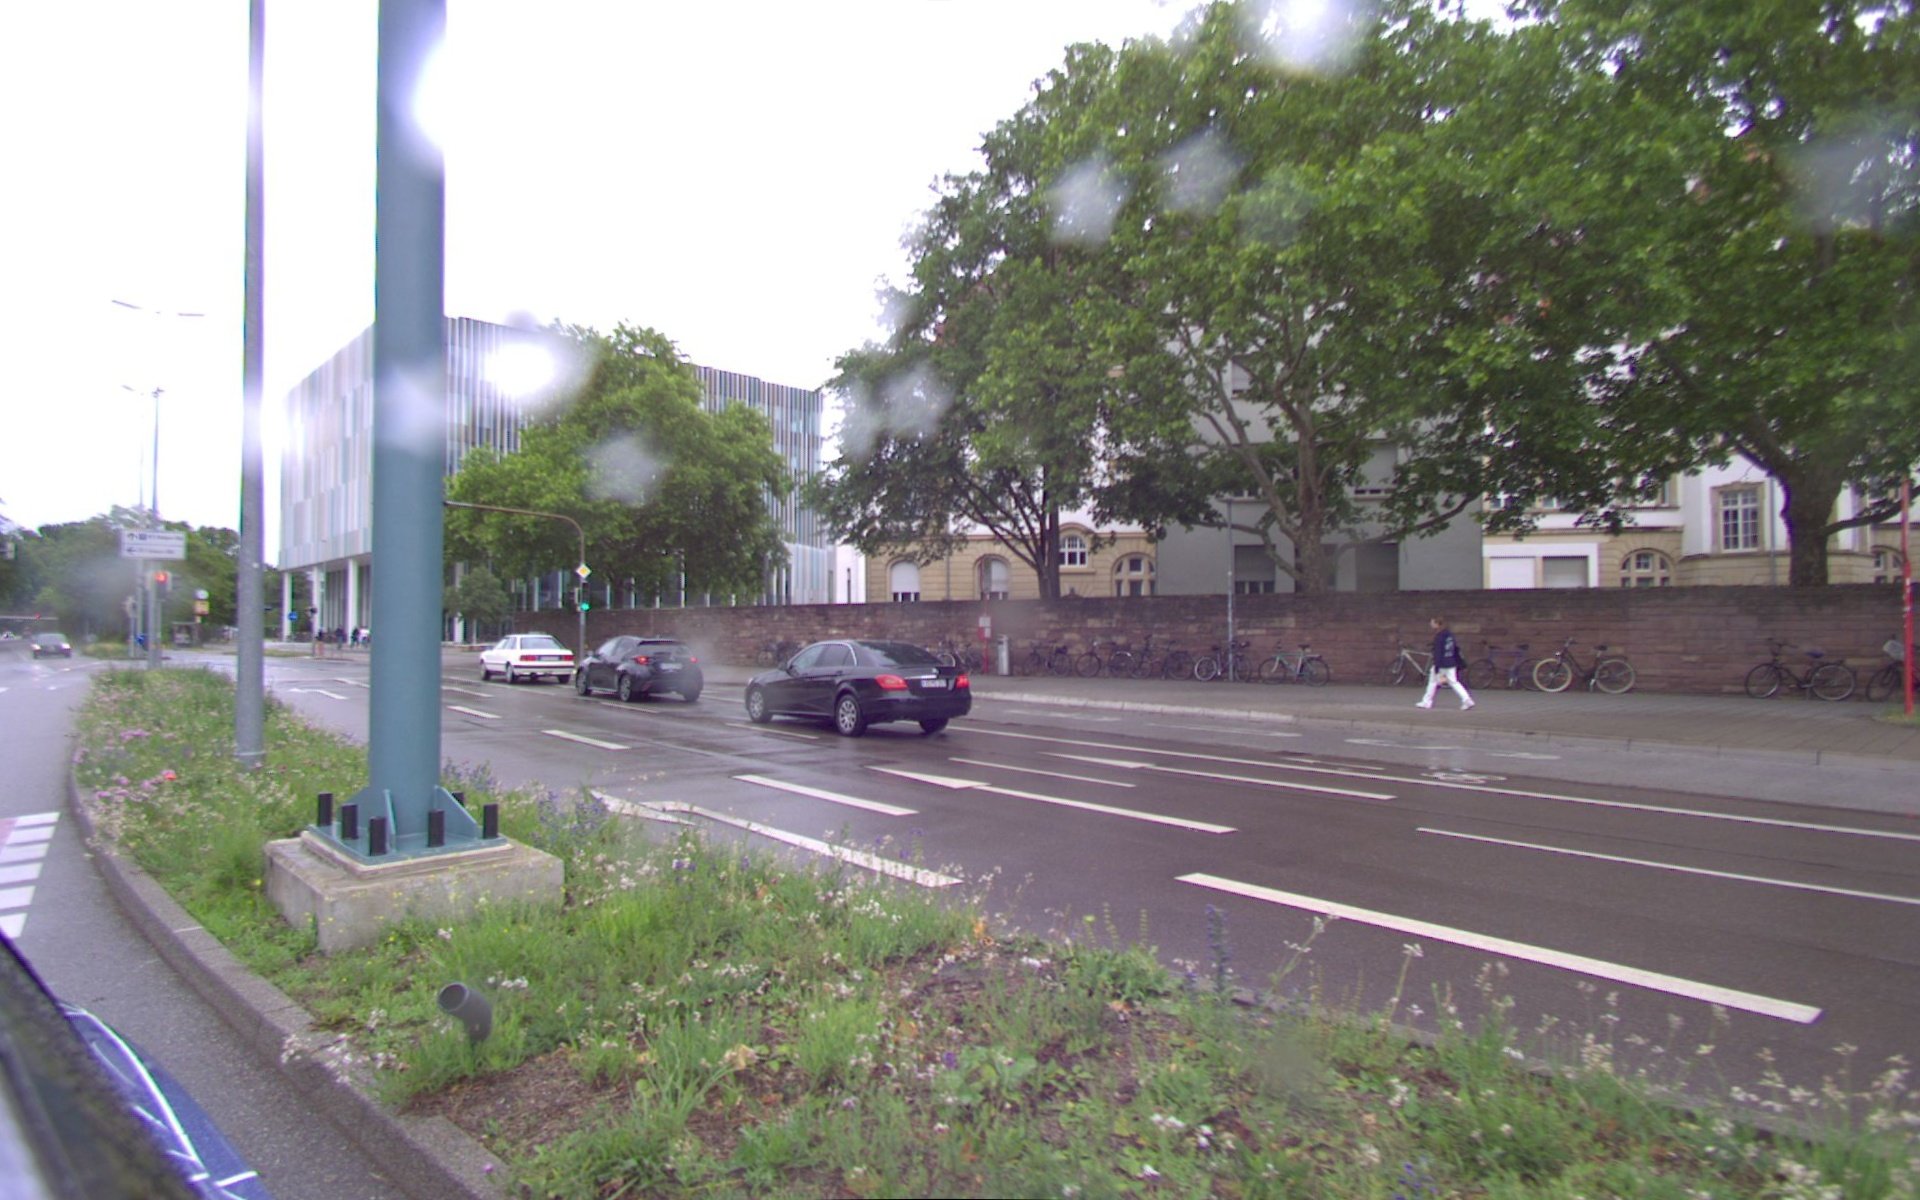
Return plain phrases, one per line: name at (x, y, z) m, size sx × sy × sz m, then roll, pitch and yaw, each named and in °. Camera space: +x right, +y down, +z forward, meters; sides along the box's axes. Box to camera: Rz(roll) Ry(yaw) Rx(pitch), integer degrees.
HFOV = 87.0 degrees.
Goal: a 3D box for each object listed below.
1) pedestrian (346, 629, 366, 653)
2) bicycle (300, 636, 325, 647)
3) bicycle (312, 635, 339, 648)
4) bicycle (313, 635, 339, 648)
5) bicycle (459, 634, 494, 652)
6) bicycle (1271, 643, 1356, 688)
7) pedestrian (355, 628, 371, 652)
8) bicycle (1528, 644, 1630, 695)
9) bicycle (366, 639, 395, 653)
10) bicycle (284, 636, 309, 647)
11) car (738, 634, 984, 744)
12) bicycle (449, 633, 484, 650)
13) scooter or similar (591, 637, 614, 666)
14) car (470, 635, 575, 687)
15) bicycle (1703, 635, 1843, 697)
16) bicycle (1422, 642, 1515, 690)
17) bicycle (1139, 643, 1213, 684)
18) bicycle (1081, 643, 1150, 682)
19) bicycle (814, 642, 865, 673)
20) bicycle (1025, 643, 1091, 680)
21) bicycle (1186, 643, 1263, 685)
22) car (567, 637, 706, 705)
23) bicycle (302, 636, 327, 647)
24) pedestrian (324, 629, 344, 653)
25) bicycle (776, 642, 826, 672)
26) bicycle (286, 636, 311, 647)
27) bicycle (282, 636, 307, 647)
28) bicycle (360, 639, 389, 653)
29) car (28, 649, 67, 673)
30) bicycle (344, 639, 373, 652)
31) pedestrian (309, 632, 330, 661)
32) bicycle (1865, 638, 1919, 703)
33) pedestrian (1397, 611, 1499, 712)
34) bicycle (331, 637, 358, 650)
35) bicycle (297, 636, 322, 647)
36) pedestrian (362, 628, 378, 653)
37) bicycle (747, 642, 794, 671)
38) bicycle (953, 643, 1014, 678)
pedestrian at (-46.721, 3.135, 78.283) m, size 0.918 × 1.838 × 0.931 m, roll -1°, pitch -2°, yaw 25°
bicycle at (-68.941, 4.415, 107.767) m, size 2.247 × 1.231 × 0.600 m, roll 1°, pitch -2°, yaw -32°
bicycle at (-63.561, 4.170, 101.451) m, size 2.247 × 1.231 × 0.600 m, roll 1°, pitch -2°, yaw -32°
bicycle at (-64.013, 4.197, 102.158) m, size 2.247 × 1.231 × 0.600 m, roll 1°, pitch -2°, yaw -32°
bicycle at (-34.607, 3.058, 72.481) m, size 0.598 × 1.231 × 2.258 m, roll -2°, pitch -3°, yaw 36°
bicycle at (8.183, 1.497, 23.450) m, size 1.699 × 0.990 × 0.724 m, roll -2°, pitch -2°, yaw 38°
pedestrian at (-45.639, 3.078, 77.350) m, size 0.621 × 1.838 × 0.780 m, roll -1°, pitch -2°, yaw 25°
bicycle at (12.697, 1.411, 20.778) m, size 1.699 × 0.990 × 0.724 m, roll -2°, pitch -2°, yaw 38°
bicycle at (-52.547, 4.126, 91.753) m, size 0.598 × 1.231 × 2.258 m, roll -2°, pitch -3°, yaw 36°
bicycle at (-72.520, 4.530, 110.599) m, size 2.247 × 1.231 × 0.600 m, roll 1°, pitch -2°, yaw -32°
car at (-1.788, 1.358, 16.687) m, size 1.785 × 1.552 × 4.712 m, roll 3°, pitch -4°, yaw -38°
bicycle at (-35.561, 2.973, 72.950) m, size 0.598 × 1.231 × 2.258 m, roll -2°, pitch -3°, yaw 36°
scooter or similar at (-15.588, 2.225, 44.124) m, size 1.142 × 1.206 × 0.386 m, roll -2°, pitch 4°, yaw 44°
car at (-12.974, 1.762, 29.871) m, size 1.576 × 1.426 × 4.531 m, roll 3°, pitch -4°, yaw -40°
bicycle at (15.508, 1.246, 19.361) m, size 1.983 × 1.144 × 0.569 m, roll -2°, pitch -2°, yaw 29°
bicycle at (11.084, 1.431, 22.101) m, size 1.699 × 0.990 × 0.724 m, roll -2°, pitch -2°, yaw 38°
bicycle at (5.559, 1.622, 26.070) m, size 1.699 × 0.990 × 0.724 m, roll -2°, pitch -2°, yaw 38°
bicycle at (4.152, 1.648, 27.085) m, size 1.699 × 0.990 × 0.724 m, roll -2°, pitch -2°, yaw 38°
bicycle at (-4.049, 1.925, 33.936) m, size 1.699 × 0.990 × 0.724 m, roll -2°, pitch -2°, yaw 38°
bicycle at (2.723, 1.691, 28.095) m, size 1.699 × 0.990 × 0.724 m, roll -2°, pitch -2°, yaw 38°
bicycle at (6.565, 1.586, 25.164) m, size 1.699 × 0.990 × 0.724 m, roll -2°, pitch -2°, yaw 38°
car at (-7.569, 1.588, 23.446) m, size 1.603 × 1.426 × 4.072 m, roll 3°, pitch -4°, yaw -40°
bicycle at (-69.201, 4.442, 108.484) m, size 2.247 × 1.231 × 0.600 m, roll 1°, pitch -2°, yaw -32°
pedestrian at (-47.880, 3.110, 77.448) m, size 0.916 × 1.838 × 0.934 m, roll -1°, pitch -2°, yaw 18°
bicycle at (-5.486, 1.965, 34.903) m, size 1.699 × 0.990 × 0.724 m, roll -2°, pitch -2°, yaw 38°
bicycle at (-71.902, 4.505, 109.965) m, size 2.247 × 1.231 × 0.600 m, roll 1°, pitch -2°, yaw -32°
bicycle at (-74.020, 4.608, 112.619) m, size 2.247 × 1.231 × 0.600 m, roll 1°, pitch -2°, yaw -32°
bicycle at (-53.198, 4.137, 91.994) m, size 0.598 × 1.231 × 2.258 m, roll -2°, pitch -3°, yaw 36°
car at (-54.594, 3.622, 60.520) m, size 1.636 × 1.375 × 4.111 m, roll 2°, pitch -3°, yaw -43°
bicycle at (-55.446, 4.193, 93.338) m, size 0.598 × 1.231 × 2.258 m, roll -2°, pitch -3°, yaw 36°
pedestrian at (-40.485, 2.943, 63.961) m, size 0.791 × 1.838 × 0.780 m, roll -1°, pitch -2°, yaw 25°
bicycle at (17.501, 1.248, 17.984) m, size 1.983 × 1.144 × 0.569 m, roll -2°, pitch -2°, yaw 29°
pedestrian at (8.588, 1.058, 17.827) m, size 1.400 × 1.708 × 0.859 m, roll -2°, pitch -2°, yaw 43°
bicycle at (-59.630, 4.218, 98.011) m, size 2.247 × 1.231 × 0.600 m, roll 1°, pitch -2°, yaw -32°
bicycle at (-70.387, 4.483, 109.516) m, size 2.247 × 1.231 × 0.600 m, roll 1°, pitch -2°, yaw -32°
pedestrian at (-44.275, 3.025, 75.916) m, size 0.621 × 1.838 × 0.780 m, roll -1°, pitch -2°, yaw 25°
bicycle at (-6.837, 2.024, 36.413) m, size 1.699 × 0.990 × 0.724 m, roll -2°, pitch -2°, yaw 38°
bicycle at (0.680, 1.765, 29.959) m, size 1.699 × 0.990 × 0.724 m, roll -2°, pitch -2°, yaw 38°
